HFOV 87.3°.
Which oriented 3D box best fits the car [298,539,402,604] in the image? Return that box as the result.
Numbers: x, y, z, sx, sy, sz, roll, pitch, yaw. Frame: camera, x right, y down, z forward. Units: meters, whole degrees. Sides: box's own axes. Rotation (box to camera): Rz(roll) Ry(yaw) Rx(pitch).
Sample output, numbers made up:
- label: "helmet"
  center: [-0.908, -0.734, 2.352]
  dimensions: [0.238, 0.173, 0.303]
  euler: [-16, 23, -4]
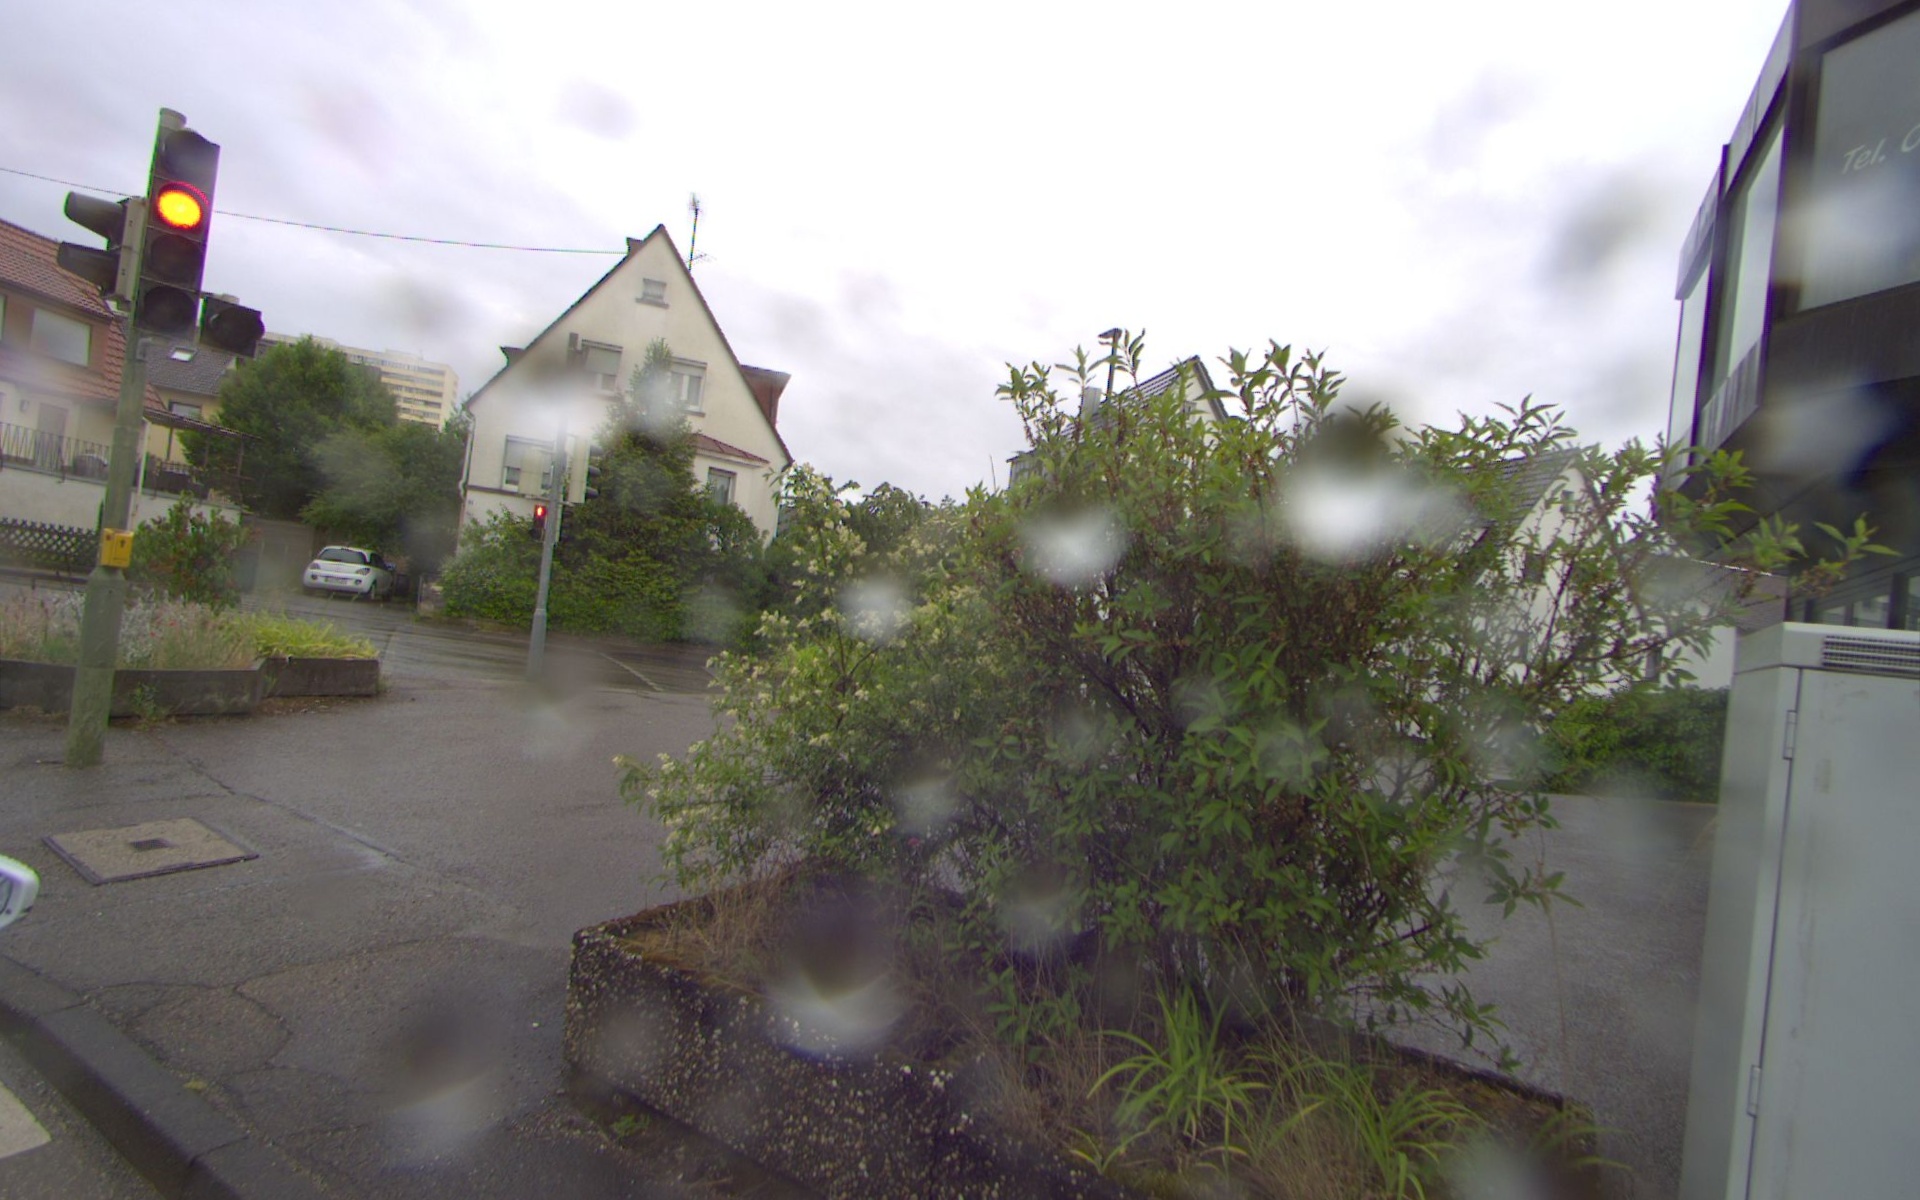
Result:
- label: "car"
  center: [-17.685, -0.814, 29.372]
  dimensions: [1.722, 1.532, 3.982]
  euler: [9, -2, -21]
